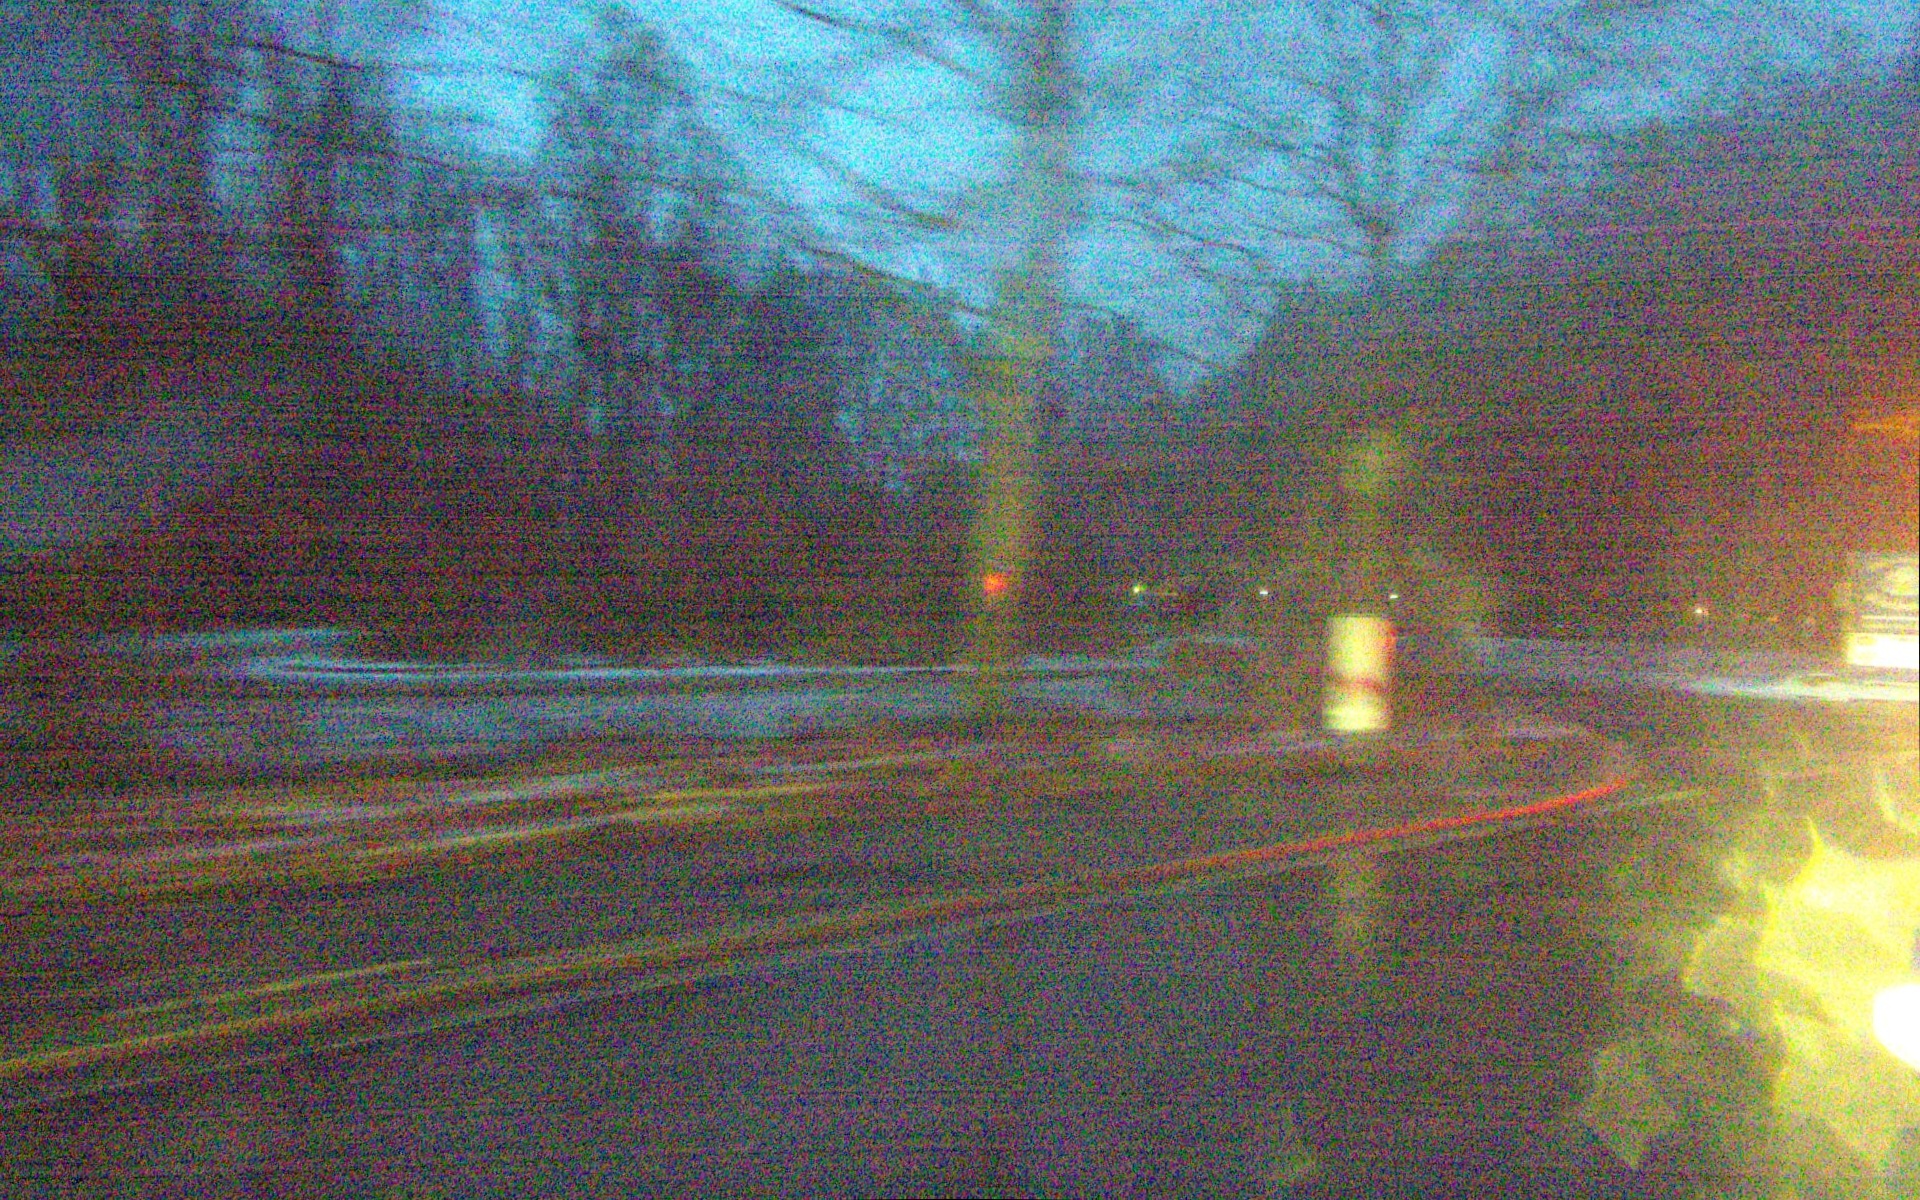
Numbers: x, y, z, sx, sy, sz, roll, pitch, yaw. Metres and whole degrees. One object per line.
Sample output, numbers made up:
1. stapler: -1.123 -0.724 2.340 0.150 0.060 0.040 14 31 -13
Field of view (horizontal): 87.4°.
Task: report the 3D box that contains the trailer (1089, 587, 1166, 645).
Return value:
1. trailer: 6.956 0.716 42.063 1.939 2.247 3.803 2 -2 -11
